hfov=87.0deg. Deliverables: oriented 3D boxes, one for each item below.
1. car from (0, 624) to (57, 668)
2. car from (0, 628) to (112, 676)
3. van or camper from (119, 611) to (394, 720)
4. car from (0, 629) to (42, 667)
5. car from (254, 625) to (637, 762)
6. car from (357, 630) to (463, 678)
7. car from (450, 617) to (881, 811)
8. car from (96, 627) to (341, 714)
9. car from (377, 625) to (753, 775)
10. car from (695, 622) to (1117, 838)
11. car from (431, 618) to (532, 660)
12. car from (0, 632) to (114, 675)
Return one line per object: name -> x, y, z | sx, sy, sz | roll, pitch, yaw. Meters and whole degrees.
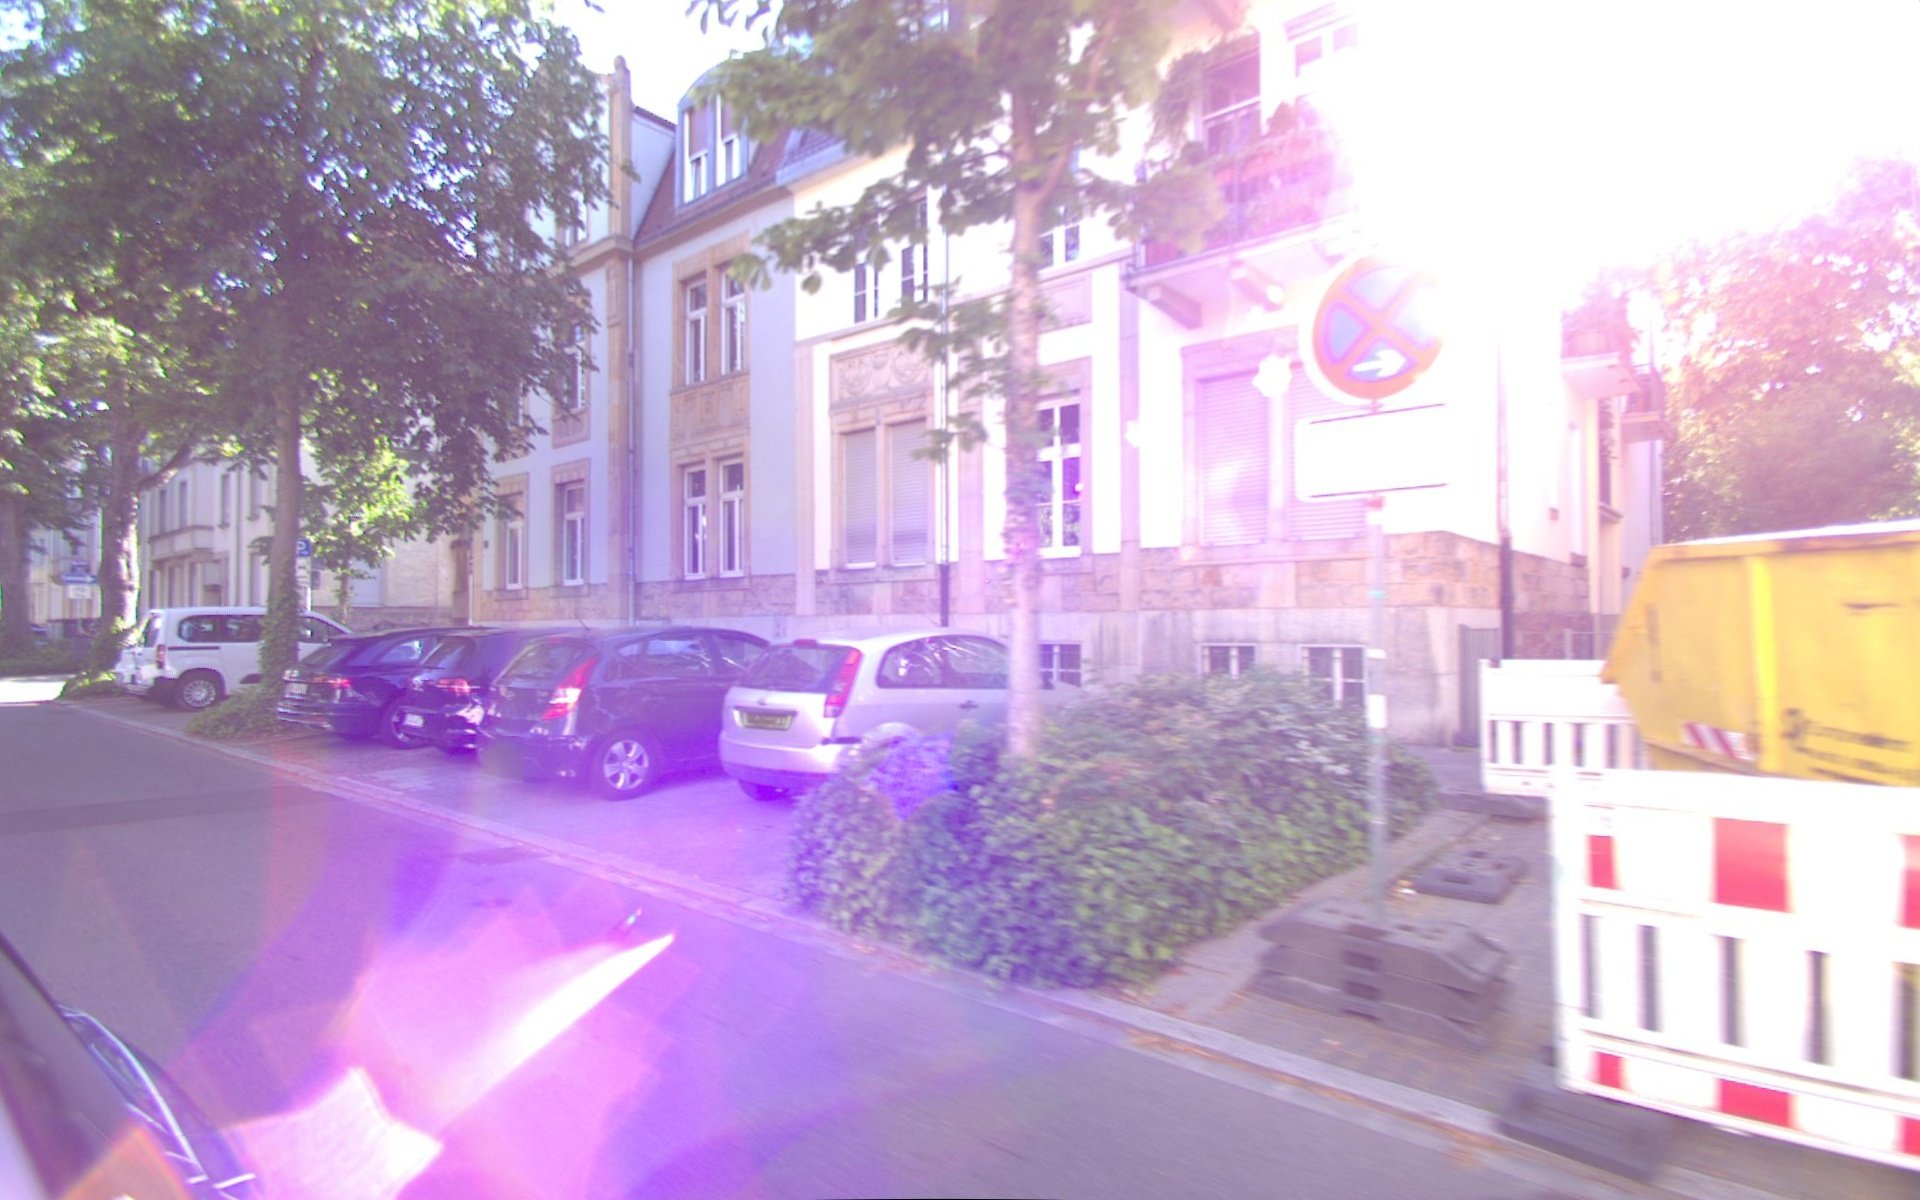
car -> -42.589, 2.027, 44.986 | 1.819, 1.907, 3.452 | -2, -2, 40
car -> -38.355, 2.161, 42.573 | 3.934, 1.775, 2.005 | -1, 1, -36
van or camper -> -13.030, 1.141, 18.925 | 1.808, 1.787, 3.904 | -3, -2, 40
car -> -44.276, 2.189, 46.070 | 1.681, 1.704, 3.452 | -2, -2, 40
car -> -6.488, 1.081, 13.123 | 1.709, 1.411, 4.097 | -2, -1, 40
car -> -19.302, 1.842, 35.451 | 4.416, 1.566, 1.845 | -2, -3, 42
car -> -2.702, 0.943, 9.855 | 1.714, 1.476, 3.687 | -3, -2, 41
car -> -14.838, 1.338, 20.405 | 1.720, 1.528, 3.687 | -2, -2, 39
car -> -4.398, 1.040, 11.693 | 1.645, 1.442, 3.708 | -2, -3, 40
car -> -0.303, 0.956, 8.776 | 1.695, 1.459, 3.512 | -2, -3, 41
car -> -17.834, 1.418, 37.637 | 4.280, 1.452, 1.845 | -1, -2, 42
car -> -35.206, 2.037, 38.962 | 3.939, 1.443, 1.806 | -2, 1, -42
